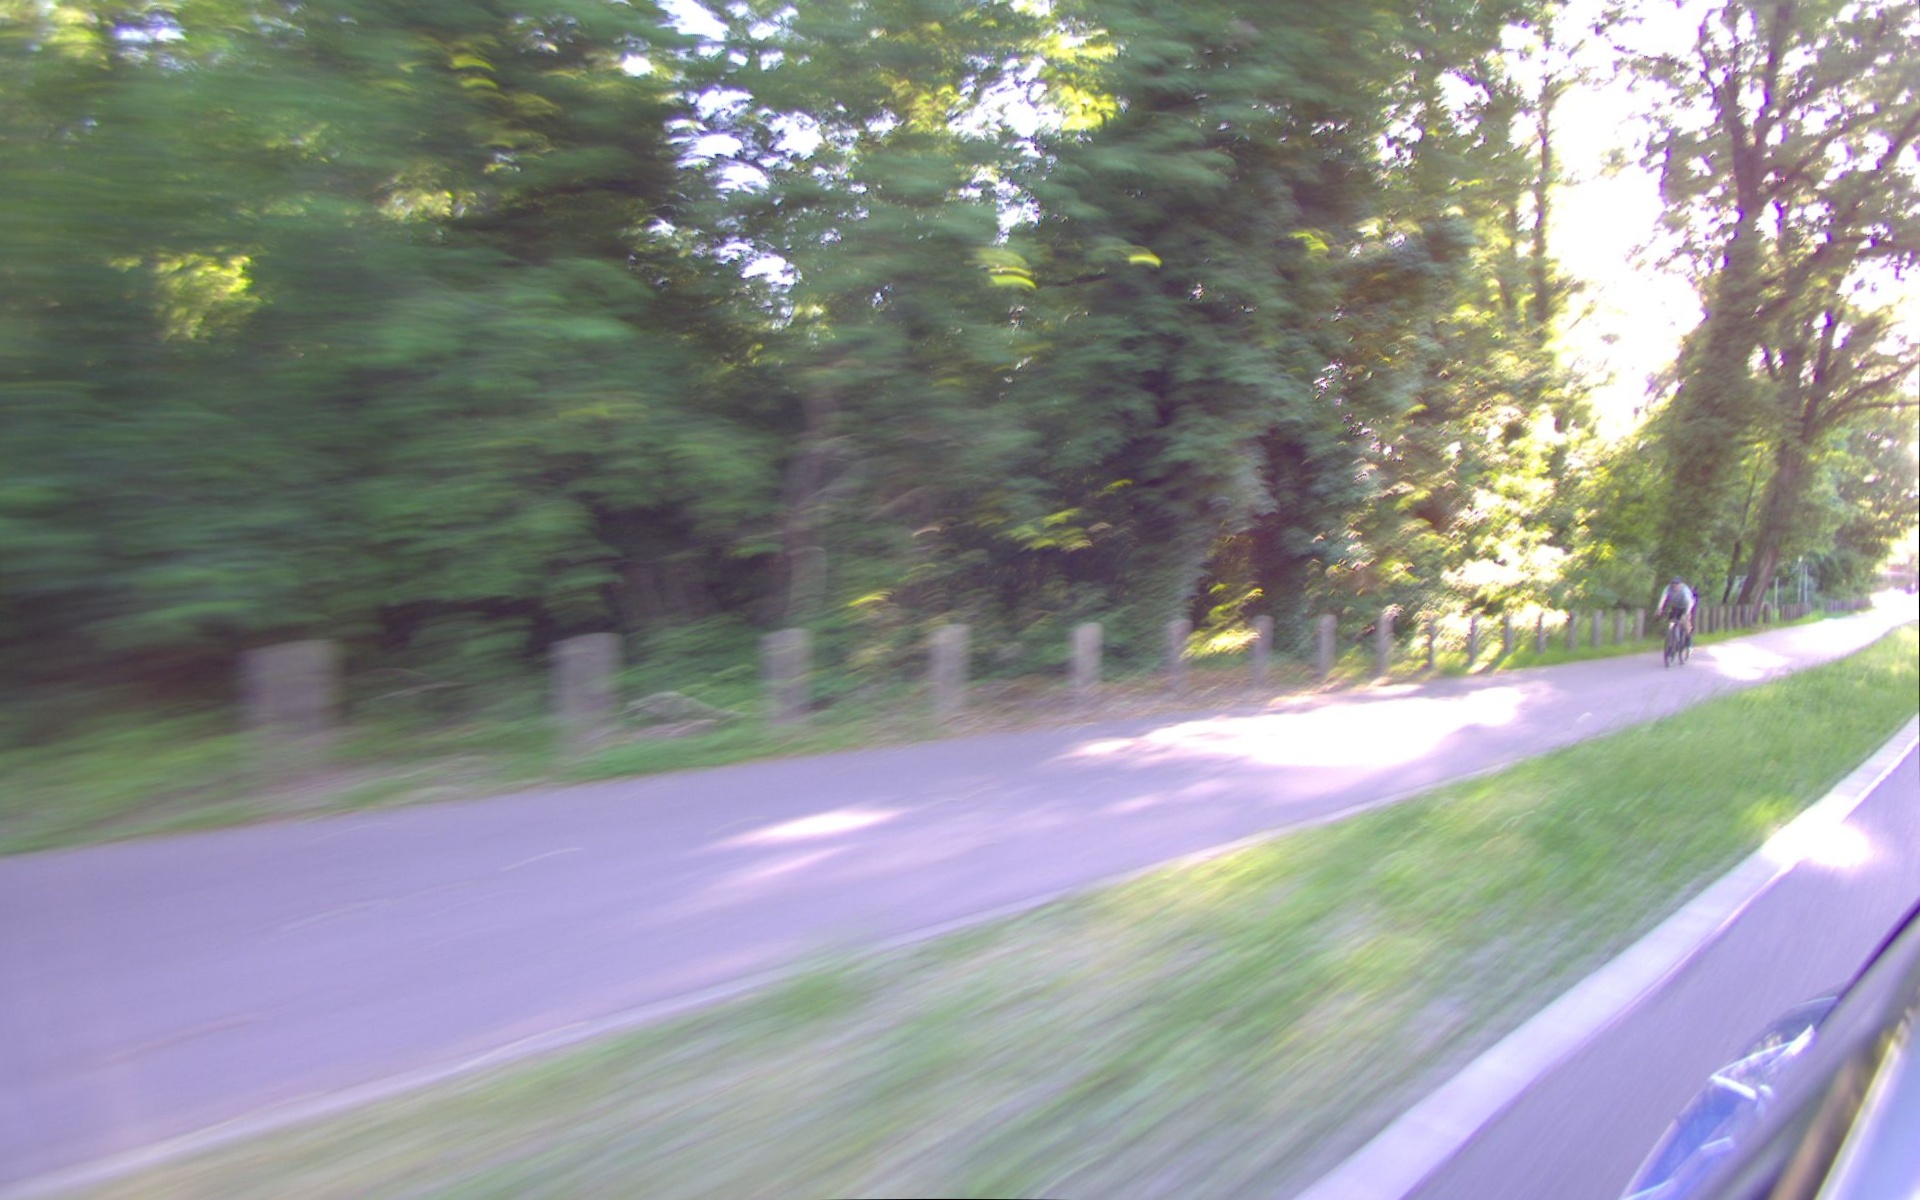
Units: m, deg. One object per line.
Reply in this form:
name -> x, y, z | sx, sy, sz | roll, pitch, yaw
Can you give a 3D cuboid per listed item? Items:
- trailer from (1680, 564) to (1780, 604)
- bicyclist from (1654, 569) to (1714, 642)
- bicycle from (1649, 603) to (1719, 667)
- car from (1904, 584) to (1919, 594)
trailer -> 41.770, -0.907, 55.012 | 1.960, 2.046, 4.232 | 1, 2, -4
bicyclist -> 13.390, 0.084, 18.706 | 1.086, 1.305, 0.712 | 0, 1, -45
bicycle -> 13.416, 0.614, 18.739 | 2.019, 1.069, 0.712 | -1, 2, -45
car -> 168.306, -1.887, 178.860 | 1.818, 1.704, 3.945 | 2, 2, 38
